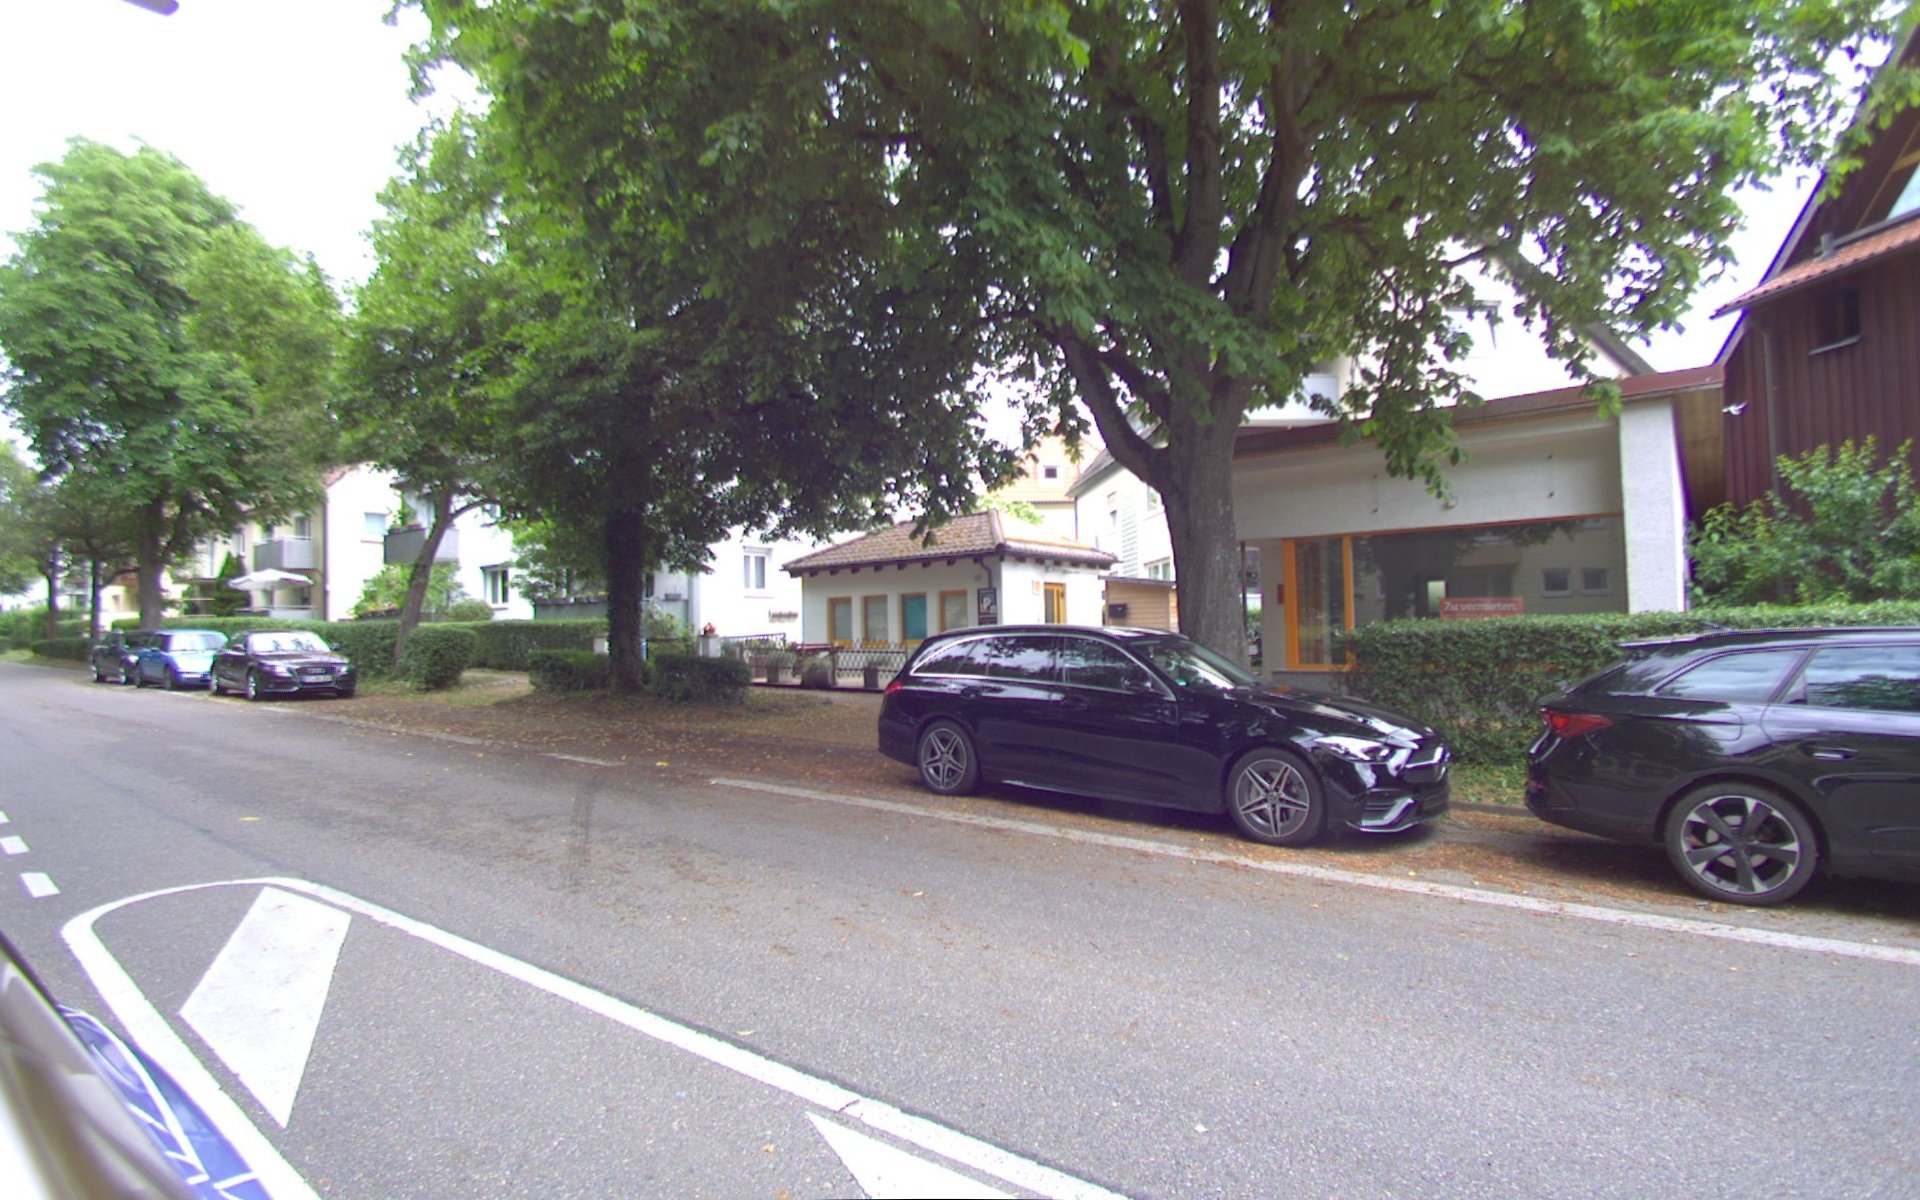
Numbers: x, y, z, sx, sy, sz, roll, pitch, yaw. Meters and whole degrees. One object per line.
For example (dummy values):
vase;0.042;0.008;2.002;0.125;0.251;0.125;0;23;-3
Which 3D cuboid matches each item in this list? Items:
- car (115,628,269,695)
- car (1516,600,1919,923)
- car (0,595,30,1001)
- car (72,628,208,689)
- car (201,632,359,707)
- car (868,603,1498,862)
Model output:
car;-18.915;1.464;24.856;4.558;1.512;1.866;-2;-3;37
car;5.453;0.757;4.986;4.536;1.497;1.674;-2;-3;38
car;-5.919;0.777;4.594;4.612;1.511;1.973;-2;-3;41
car;-22.604;1.563;27.848;4.558;1.545;1.866;-2;-3;37
car;-14.220;1.378;21.090;4.169;1.414;1.713;-2;-3;41
car;1.558;0.865;8.198;4.612;1.511;1.973;-2;-3;41
